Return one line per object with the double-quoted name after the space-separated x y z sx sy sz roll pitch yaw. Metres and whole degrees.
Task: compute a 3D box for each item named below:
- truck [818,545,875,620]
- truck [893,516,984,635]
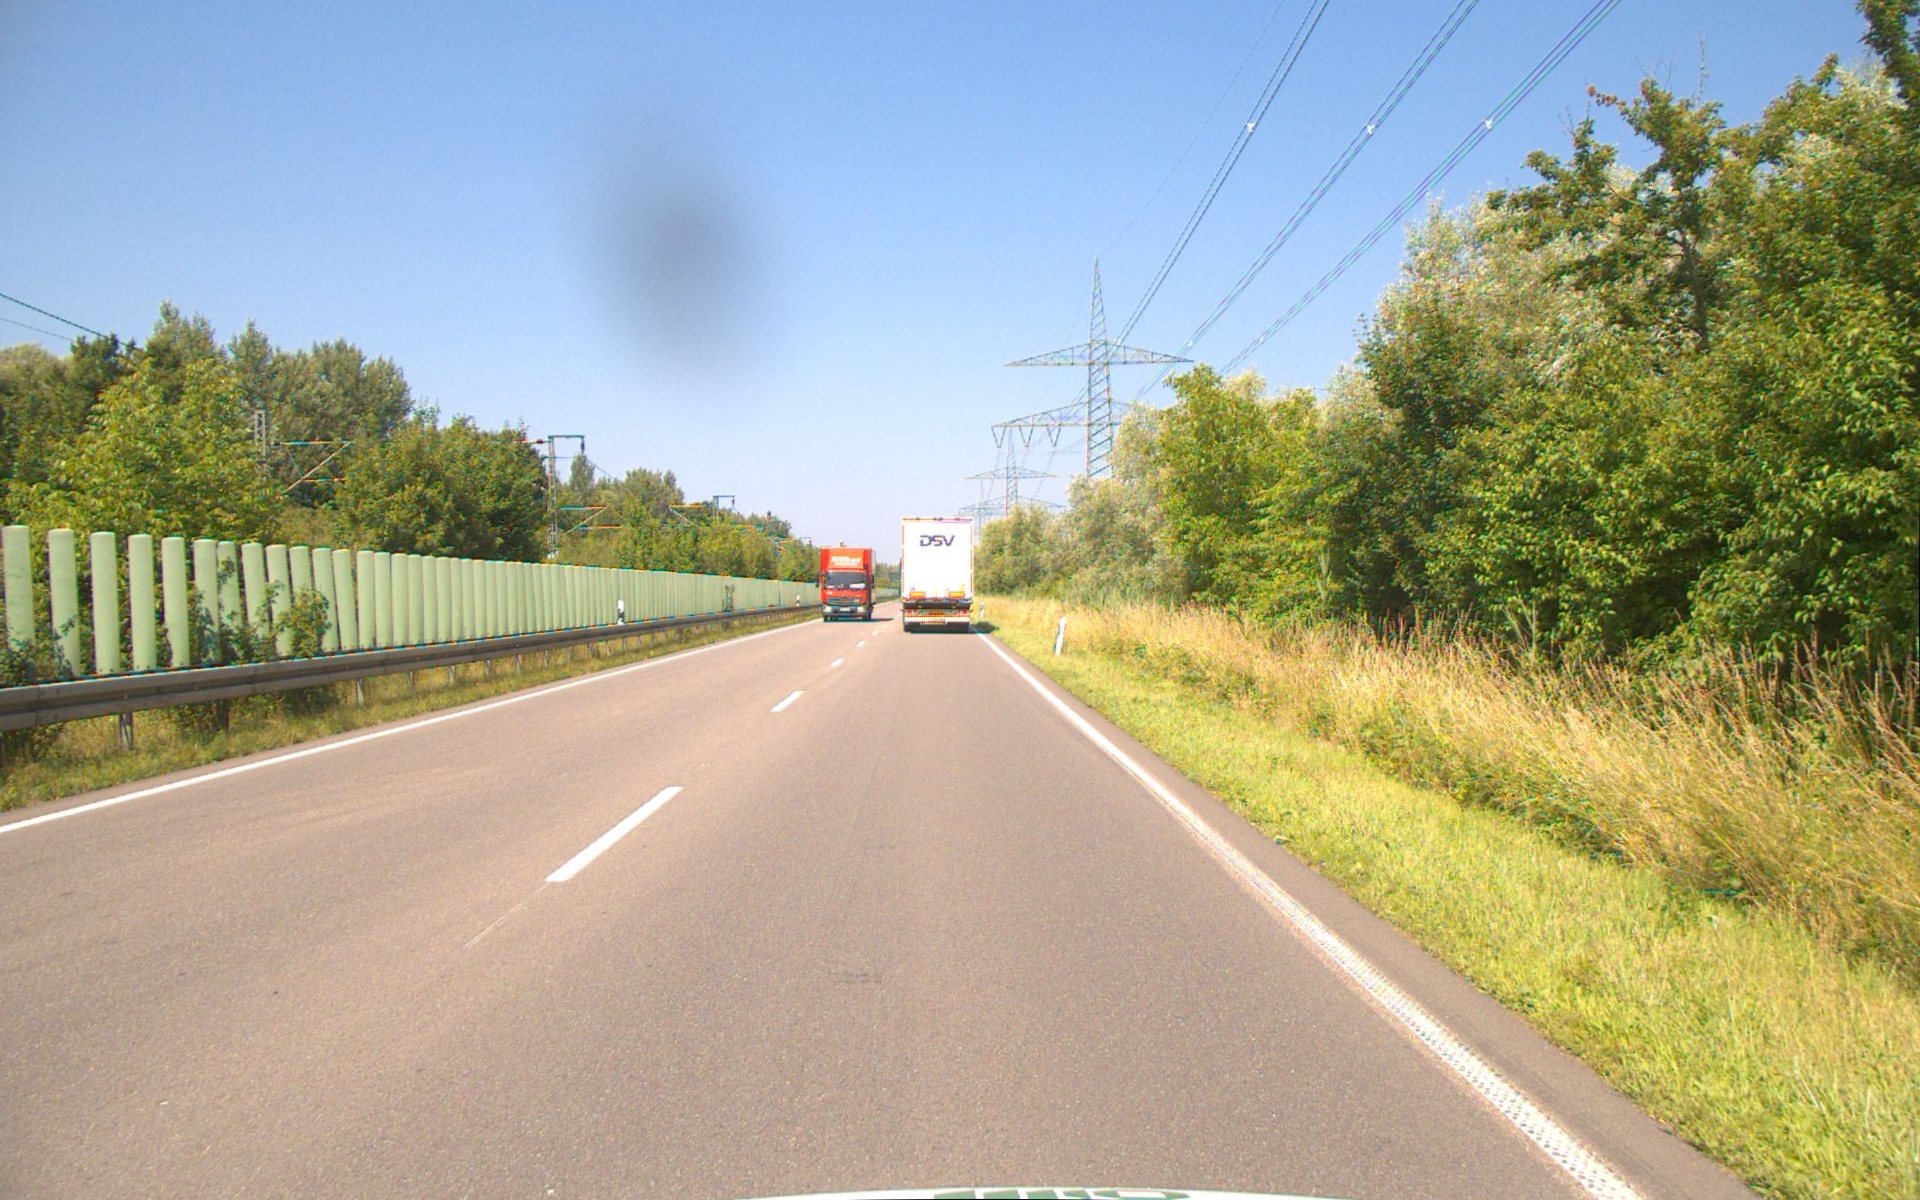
-5.749 -0.887 85.197 2.679 3.662 9.522 0 0 -3 "truck"
-0.900 -0.896 63.356 3.127 4.113 12.003 0 0 -2 "truck"
